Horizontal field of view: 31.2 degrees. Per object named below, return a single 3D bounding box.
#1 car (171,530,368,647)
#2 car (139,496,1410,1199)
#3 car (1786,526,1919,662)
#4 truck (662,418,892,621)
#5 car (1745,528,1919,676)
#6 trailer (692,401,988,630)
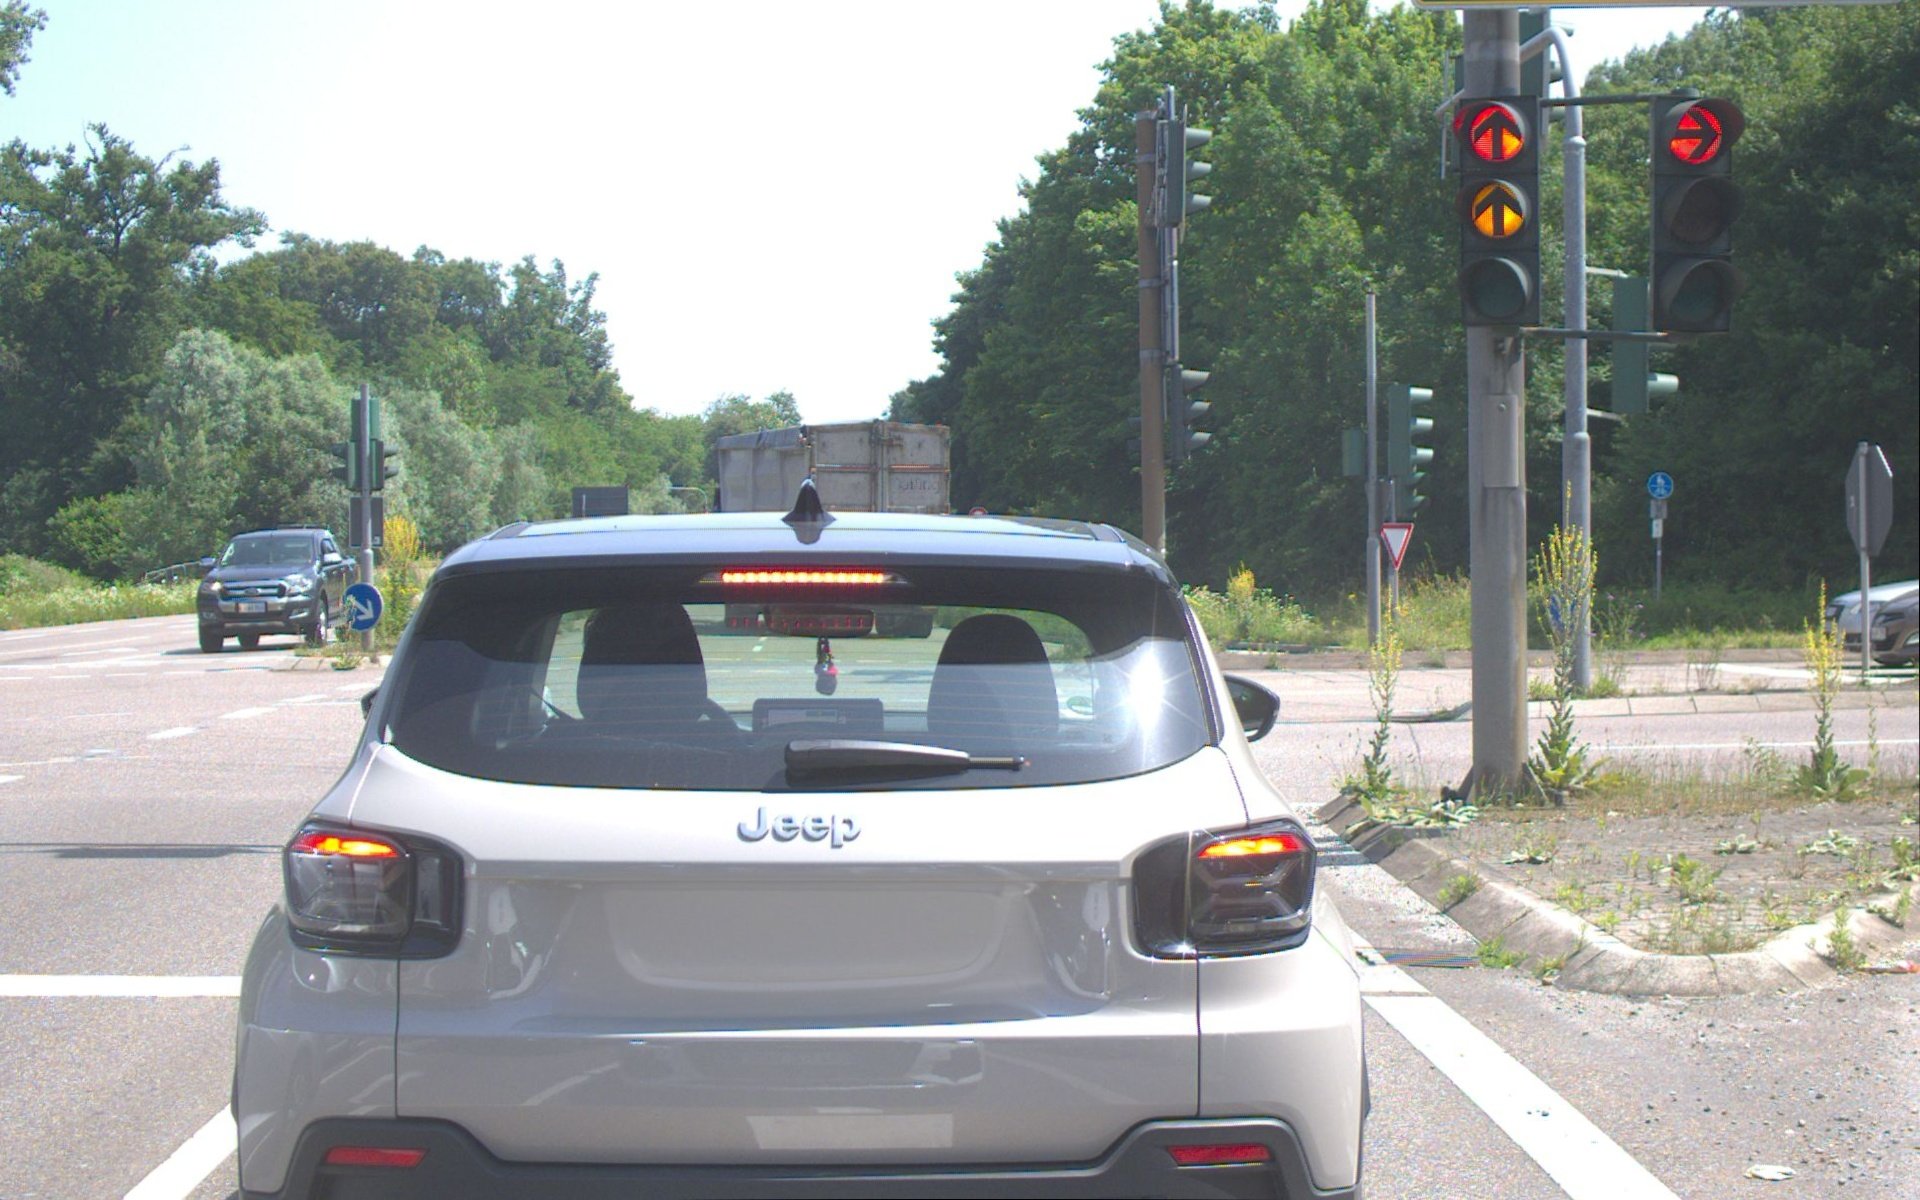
[{"bbox_3d":[-10.657,-0.221,53.429,1.993,1.672,5.366,-2,1,-1],"label":"car"},{"bbox_3d":[-0.282,0.588,6.793,1.767,1.529,4.000,0,1,-1],"label":"car"},{"bbox_3d":[12.056,-0.093,38.850,4.932,1.493,2.020,-1,0,0],"label":"car"},{"bbox_3d":[-3.876,-1.629,71.252,3.332,3.975,6.535,1,1,-16],"label":"truck"},{"bbox_3d":[10.352,-0.023,35.234,4.091,1.442,1.996,-1,1,-3],"label":"car"},{"bbox_3d":[-2.511,-1.550,65.815,3.381,3.975,10.807,1,1,-14],"label":"trailer"}]
